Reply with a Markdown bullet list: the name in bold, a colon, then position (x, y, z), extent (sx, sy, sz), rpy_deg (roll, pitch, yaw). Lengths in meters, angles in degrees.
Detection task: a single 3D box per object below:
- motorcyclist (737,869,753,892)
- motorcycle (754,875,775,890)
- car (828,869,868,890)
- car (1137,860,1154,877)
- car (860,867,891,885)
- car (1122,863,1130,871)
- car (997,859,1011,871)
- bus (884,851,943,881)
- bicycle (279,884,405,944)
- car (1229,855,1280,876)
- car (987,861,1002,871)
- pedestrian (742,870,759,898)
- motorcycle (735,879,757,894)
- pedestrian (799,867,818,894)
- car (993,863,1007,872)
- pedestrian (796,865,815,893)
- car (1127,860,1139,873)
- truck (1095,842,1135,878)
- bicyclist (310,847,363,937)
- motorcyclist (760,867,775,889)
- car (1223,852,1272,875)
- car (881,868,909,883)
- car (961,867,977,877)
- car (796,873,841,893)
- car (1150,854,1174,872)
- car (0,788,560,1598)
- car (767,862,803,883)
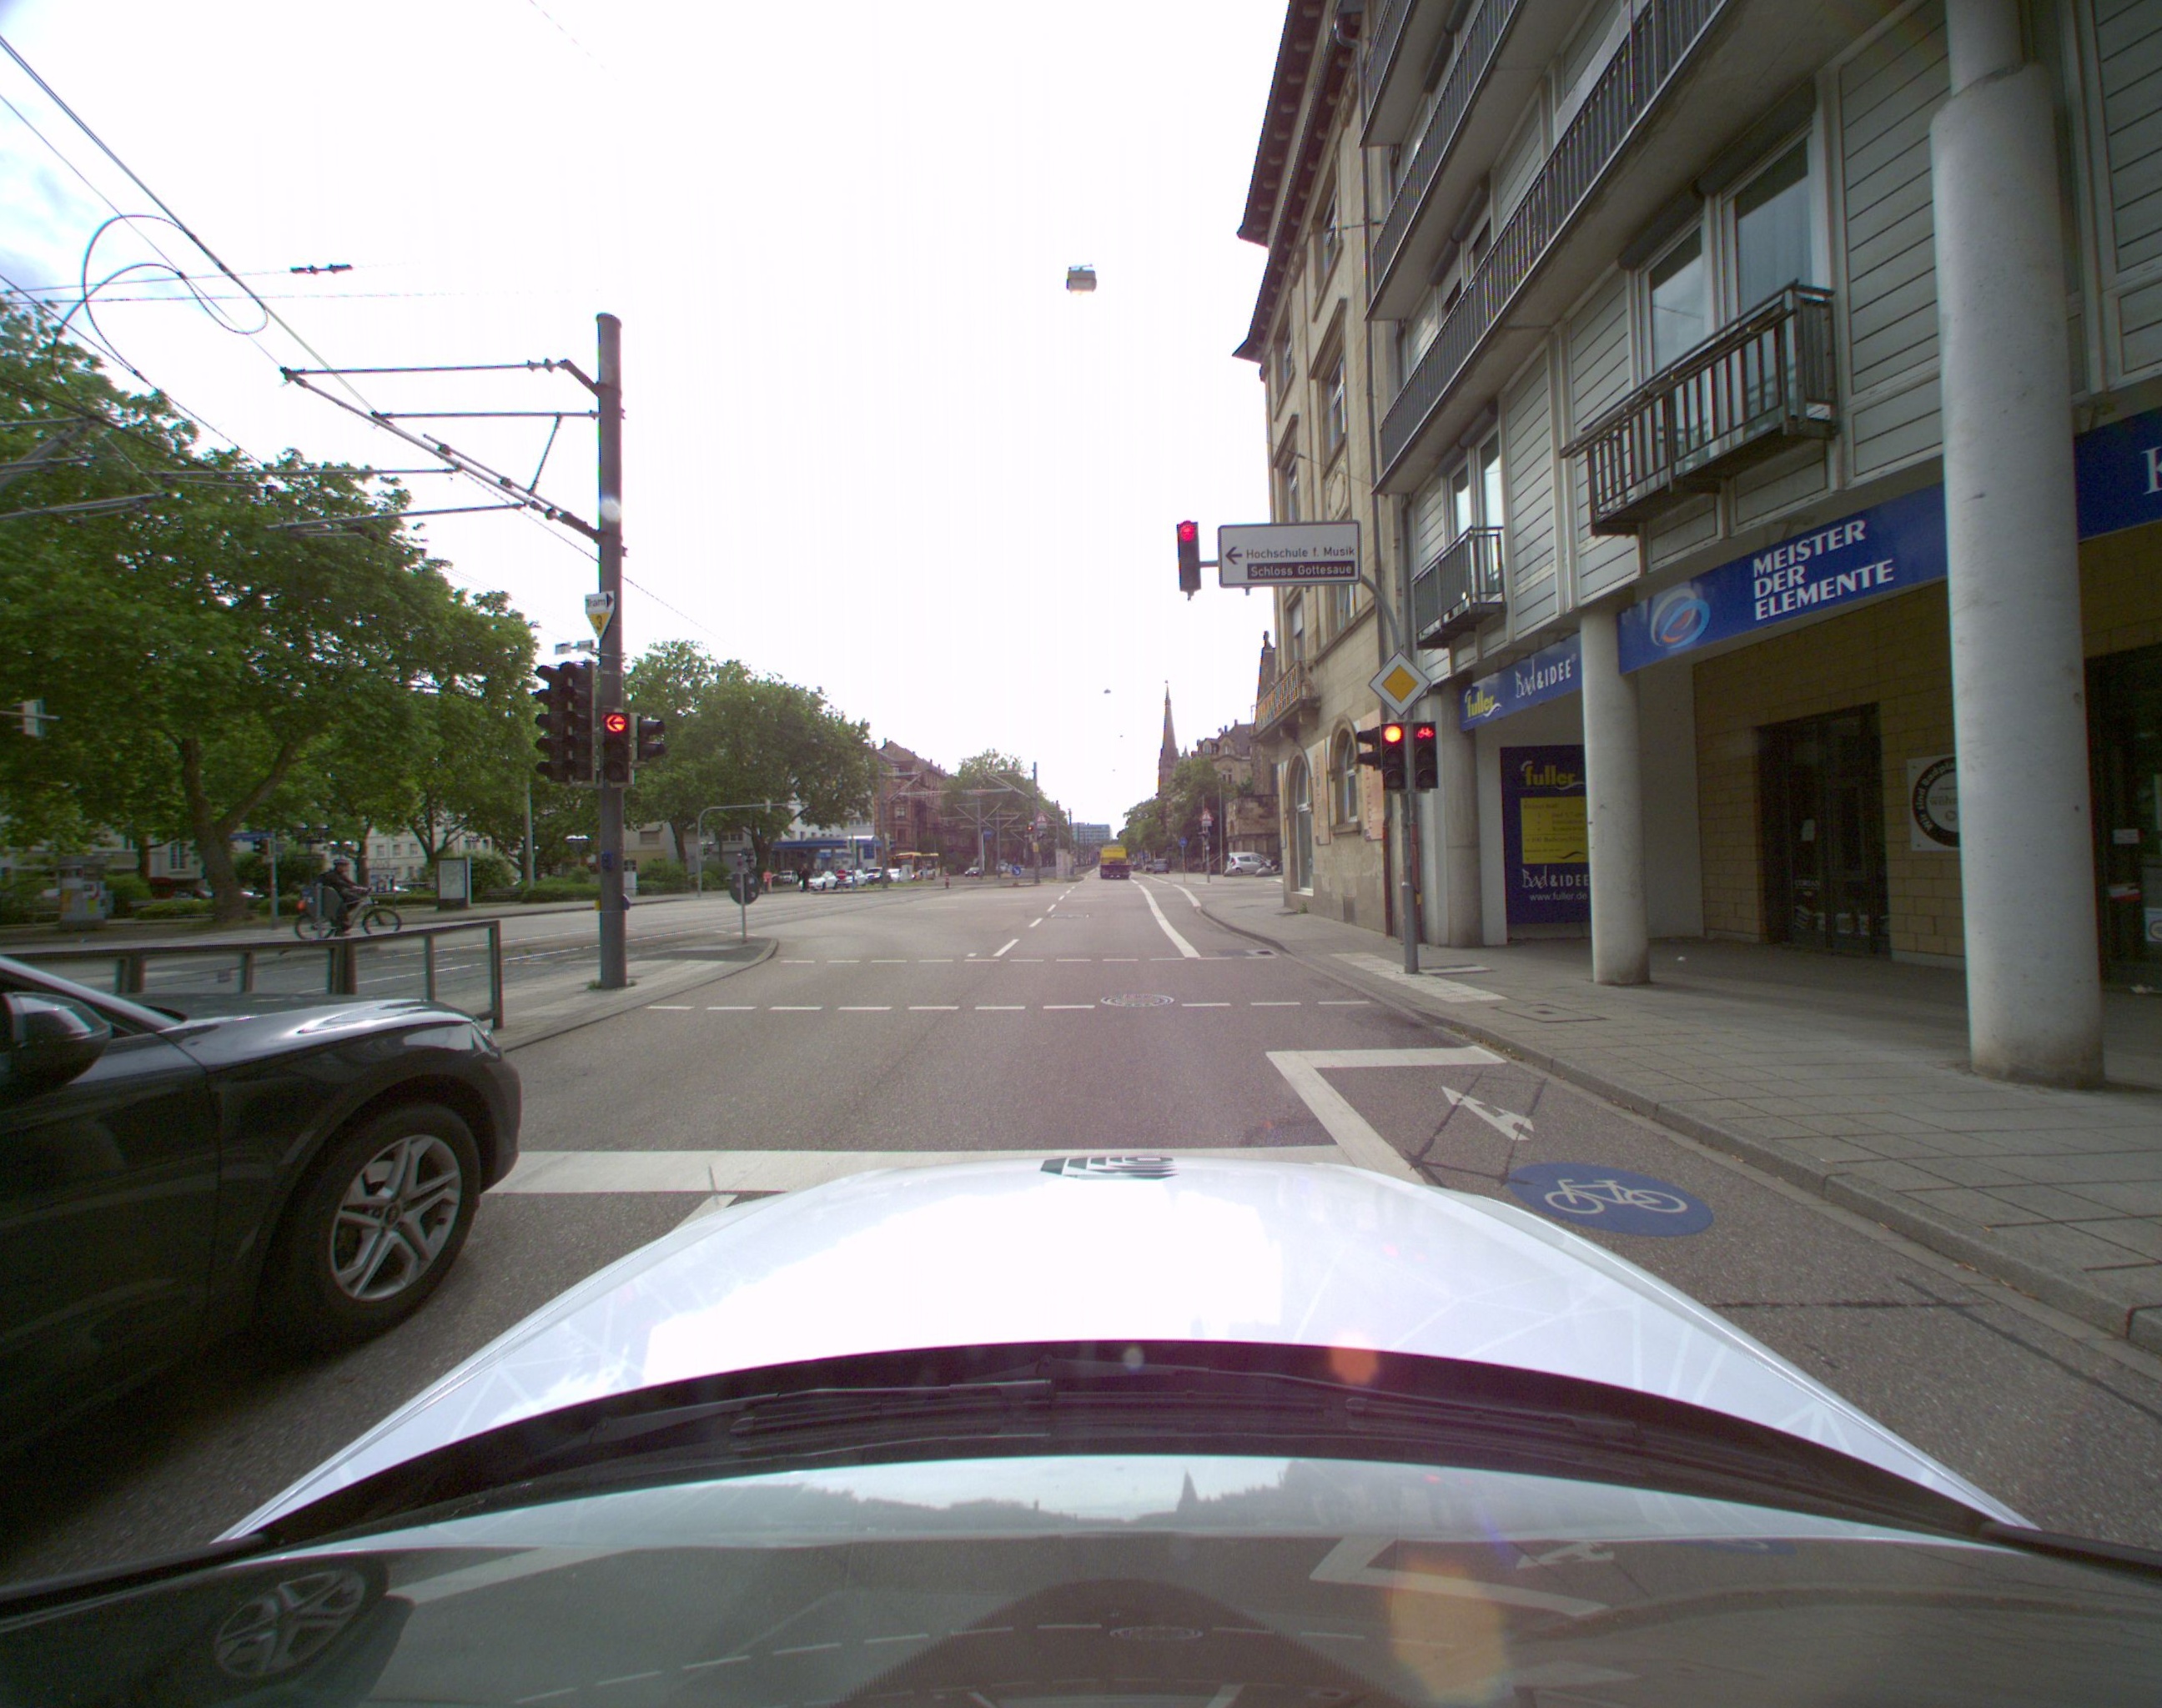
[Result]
- **motorcyclist**: position (-22.682, 1.809, 54.990), extent (0.617, 1.520, 0.874), rpy_deg (-1, -1, 2)
- **motorcycle**: position (-21.639, 1.958, 55.715), extent (0.604, 0.928, 1.953), rpy_deg (-2, -1, 2)
- **car**: position (-18.839, 2.058, 66.076), extent (1.986, 1.594, 4.001), rpy_deg (0, -1, 2)
- **car**: position (7.897, 1.704, 99.613), extent (1.985, 2.014, 4.004), rpy_deg (0, -1, 4)
- **car**: position (-18.325, 1.931, 72.719), extent (1.649, 1.478, 3.641), rpy_deg (0, -1, 3)
- **car**: position (11.917, 3.381, 216.787), extent (1.986, 2.014, 4.001), rpy_deg (0, -1, 2)
- **car**: position (-13.459, 1.956, 141.945), extent (1.986, 2.014, 4.001), rpy_deg (0, -1, 2)
- **bus**: position (-18.273, 1.304, 90.047), extent (3.217, 3.035, 12.323), rpy_deg (0, 0, 4)
- **bicycle**: position (-16.991, 1.349, 18.791), extent (2.002, 1.272, 0.744), rpy_deg (0, -1, -28)
- **car**: position (13.752, 0.912, 64.729), extent (3.699, 1.563, 2.001), rpy_deg (0, -1, 2)
- **car**: position (-15.047, 2.066, 142.091), extent (1.986, 1.610, 4.001), rpy_deg (0, -1, 2)
- **pedestrian**: position (-20.531, 1.856, 50.638), extent (0.680, 1.690, 0.743), rpy_deg (0, -1, 6)
- **motorcycle**: position (-22.667, 2.179, 55.158), extent (0.604, 0.928, 1.953), rpy_deg (-2, -1, 2)
- **pedestrian**: position (-17.477, 1.678, 52.259), extent (0.867, 1.713, 0.876), rpy_deg (-2, -1, 3)
- **car**: position (-14.896, 2.515, 149.939), extent (1.986, 1.610, 4.001), rpy_deg (0, -1, 2)
- **pedestrian**: position (-17.443, 1.595, 51.574), extent (0.863, 1.713, 0.692), rpy_deg (-2, -1, 5)
- **car**: position (8.698, 2.061, 136.127), extent (1.986, 2.014, 4.001), rpy_deg (0, -1, 2)
- **truck**: position (2.736, 0.487, 68.809), extent (3.045, 2.769, 9.816), rpy_deg (-2, 0, 1)
- **bicyclist**: position (-17.141, 0.849, 18.764), extent (0.696, 2.014, 0.776), rpy_deg (0, -1, -27)
- **motorcyclist**: position (-21.599, 1.654, 56.049), extent (0.617, 1.520, 0.874), rpy_deg (-1, -1, 2)
- **car**: position (13.932, 0.795, 68.238), extent (3.699, 1.855, 2.001), rpy_deg (0, -1, 2)
- **car**: position (-18.153, 2.102, 79.640), extent (1.649, 1.321, 3.641), rpy_deg (0, -1, 3)
- **car**: position (-16.230, 2.582, 117.925), extent (1.649, 1.321, 3.641), rpy_deg (0, -1, 3)
- **car**: position (-19.160, 2.078, 59.542), extent (1.739, 1.321, 4.079), rpy_deg (0, 0, 3)
- **car**: position (8.979, 0.994, 89.951), extent (1.979, 1.855, 4.042), rpy_deg (-1, -1, 14)
- **car**: position (-3.064, 0.686, 1.229), extent (1.727, 1.637, 4.228), rpy_deg (0, -1, 2)
- **car**: position (-29.671, 1.811, 81.840), extent (1.986, 2.014, 4.001), rpy_deg (-2, 0, 2)
